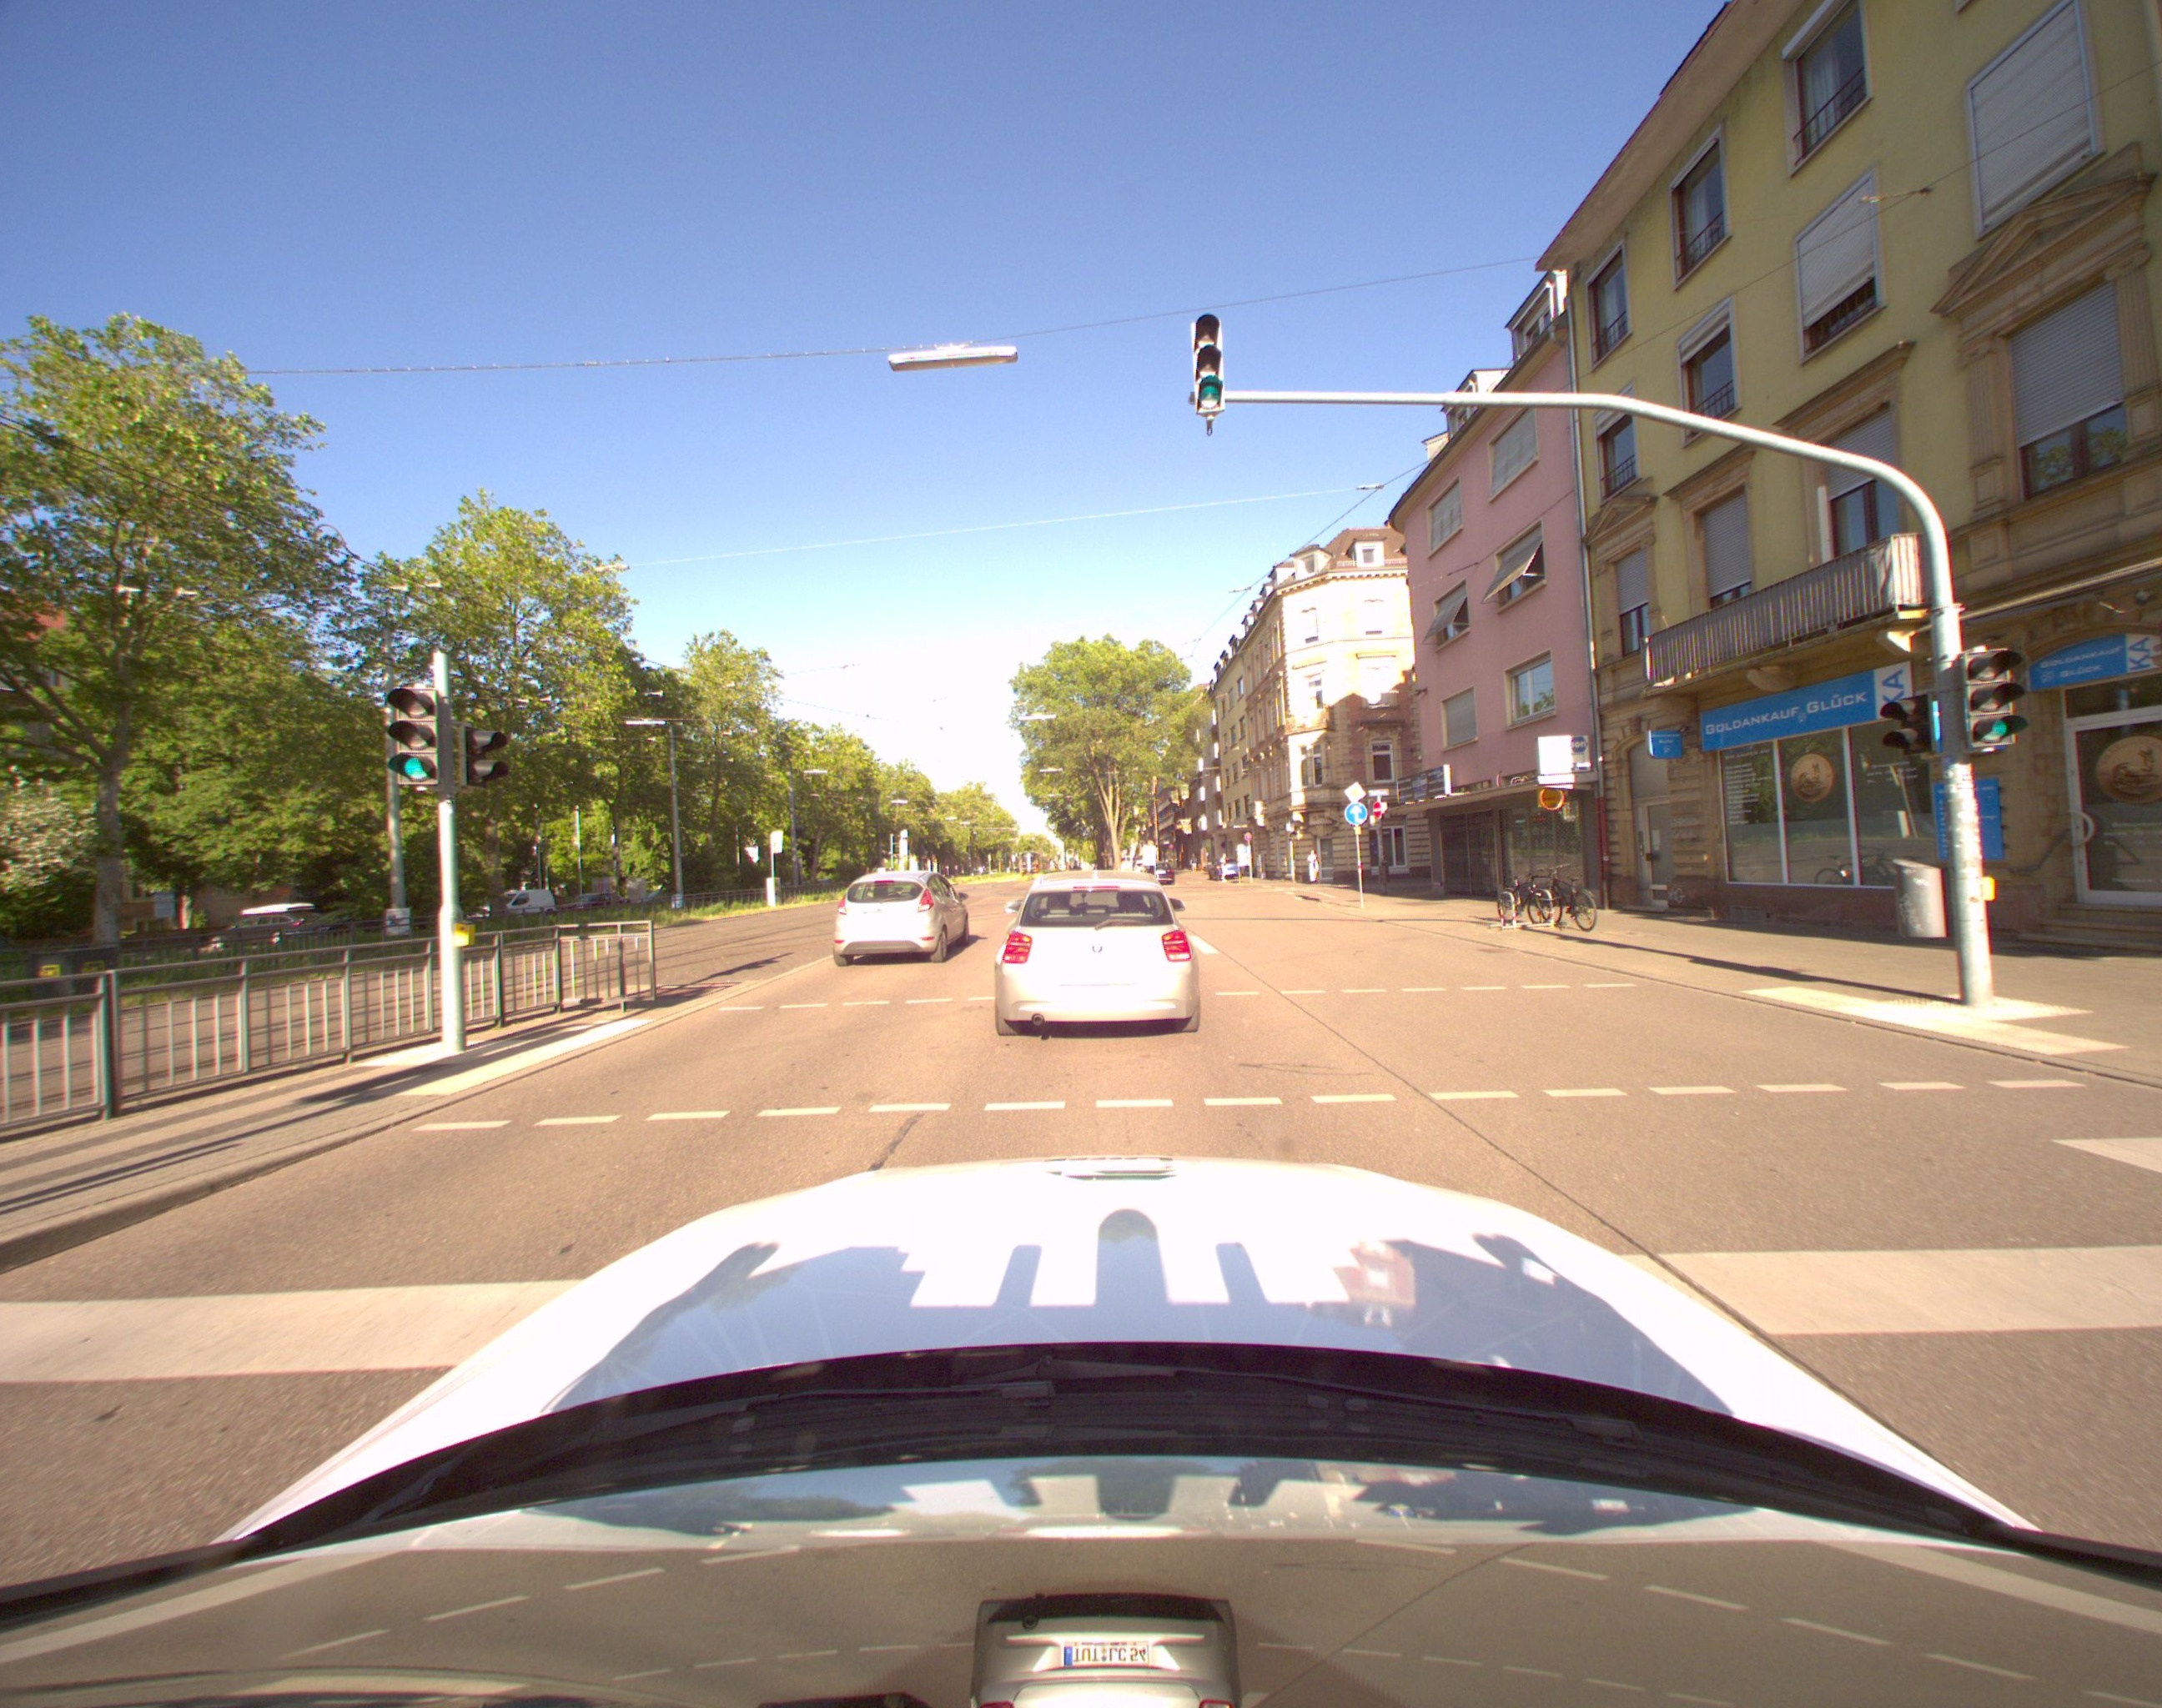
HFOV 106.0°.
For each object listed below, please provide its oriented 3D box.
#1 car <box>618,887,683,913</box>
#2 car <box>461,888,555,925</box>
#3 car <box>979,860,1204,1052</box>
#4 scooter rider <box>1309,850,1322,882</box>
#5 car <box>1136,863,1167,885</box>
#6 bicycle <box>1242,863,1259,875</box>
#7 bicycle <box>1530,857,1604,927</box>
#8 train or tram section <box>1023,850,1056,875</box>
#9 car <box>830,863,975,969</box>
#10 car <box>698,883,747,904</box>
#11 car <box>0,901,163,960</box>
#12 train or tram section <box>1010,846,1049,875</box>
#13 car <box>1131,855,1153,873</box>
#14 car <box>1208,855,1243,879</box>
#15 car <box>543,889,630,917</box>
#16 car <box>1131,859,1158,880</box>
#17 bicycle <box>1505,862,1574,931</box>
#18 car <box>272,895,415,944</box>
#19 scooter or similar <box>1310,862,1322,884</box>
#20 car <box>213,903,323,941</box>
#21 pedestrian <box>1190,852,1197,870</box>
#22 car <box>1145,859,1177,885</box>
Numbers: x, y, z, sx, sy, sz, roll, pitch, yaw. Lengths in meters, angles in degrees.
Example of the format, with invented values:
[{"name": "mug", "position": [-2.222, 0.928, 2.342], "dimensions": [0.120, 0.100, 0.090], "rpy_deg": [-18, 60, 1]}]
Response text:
[{"name": "car", "position": [-28.390, 3.003, 53.867], "dimensions": [1.930, 1.509, 4.278], "rpy_deg": [-2, -2, 0]}, {"name": "car", "position": [-28.230, 2.544, 40.284], "dimensions": [1.664, 1.509, 4.144], "rpy_deg": [-2, -1, 0]}, {"name": "car", "position": [0.133, 0.812, 8.377], "dimensions": [1.734, 1.467, 4.001], "rpy_deg": [-1, -1, 1]}, {"name": "scooter rider", "position": [11.373, 0.585, 39.527], "dimensions": [0.462, 1.505, 0.813], "rpy_deg": [-3, -1, 10]}, {"name": "car", "position": [4.748, 1.335, 55.097], "dimensions": [1.738, 1.433, 3.554], "rpy_deg": [-2, -1, 0]}, {"name": "bicycle", "position": [11.584, 1.034, 55.661], "dimensions": [0.752, 0.770, 1.945], "rpy_deg": [-2, -1, 0]}, {"name": "bicycle", "position": [8.763, 0.649, 14.753], "dimensions": [0.446, 1.159, 1.762], "rpy_deg": [-3, 0, 7]}, {"name": "train or tram section", "position": [-6.943, 1.373, 139.482], "dimensions": [3.990, 3.866, 17.493], "rpy_deg": [-2, -1, 2]}, {"name": "car", "position": [-2.876, 0.933, 13.914], "dimensions": [1.604, 1.467, 3.888], "rpy_deg": [-3, 0, -1]}, {"name": "car", "position": [-28.440, 3.139, 64.737], "dimensions": [1.930, 1.509, 4.278], "rpy_deg": [-2, -2, 0]}, {"name": "car", "position": [-40.838, 3.064, 33.275], "dimensions": [1.986, 2.013, 4.001], "rpy_deg": [-3, -1, 1]}, {"name": "train or tram section", "position": [-7.503, 1.006, 121.955], "dimensions": [3.954, 3.866, 17.493], "rpy_deg": [-2, -1, 2]}, {"name": "car", "position": [5.461, 0.917, 73.624], "dimensions": [1.719, 1.507, 3.554], "rpy_deg": [-2, -1, 0]}, {"name": "car", "position": [9.806, 0.876, 55.397], "dimensions": [1.729, 1.519, 3.636], "rpy_deg": [-2, -1, 1]}, {"name": "car", "position": [-28.016, 2.741, 46.352], "dimensions": [1.930, 1.349, 4.848], "rpy_deg": [-2, -2, 0]}, {"name": "car", "position": [4.724, 1.118, 60.800], "dimensions": [1.719, 1.507, 3.554], "rpy_deg": [-2, -1, 0]}, {"name": "bicycle", "position": [8.269, 0.733, 14.765], "dimensions": [0.411, 1.141, 1.813], "rpy_deg": [-2, 0, 8]}, {"name": "car", "position": [-28.158, 2.454, 31.286], "dimensions": [1.664, 1.509, 4.144], "rpy_deg": [-3, -1, 0]}, {"name": "scooter or similar", "position": [11.383, 0.910, 39.457], "dimensions": [0.335, 0.988, 1.286], "rpy_deg": [-3, 0, 7]}, {"name": "car", "position": [-38.578, 3.210, 38.687], "dimensions": [3.968, 1.494, 1.395], "rpy_deg": [-3, -1, 5]}, {"name": "pedestrian", "position": [11.331, 0.732, 81.868], "dimensions": [0.503, 1.802, 0.806], "rpy_deg": [-3, -1, 1]}, {"name": "car", "position": [4.831, 1.075, 49.601], "dimensions": [1.728, 1.433, 3.681], "rpy_deg": [-2, -1, 3]}]
